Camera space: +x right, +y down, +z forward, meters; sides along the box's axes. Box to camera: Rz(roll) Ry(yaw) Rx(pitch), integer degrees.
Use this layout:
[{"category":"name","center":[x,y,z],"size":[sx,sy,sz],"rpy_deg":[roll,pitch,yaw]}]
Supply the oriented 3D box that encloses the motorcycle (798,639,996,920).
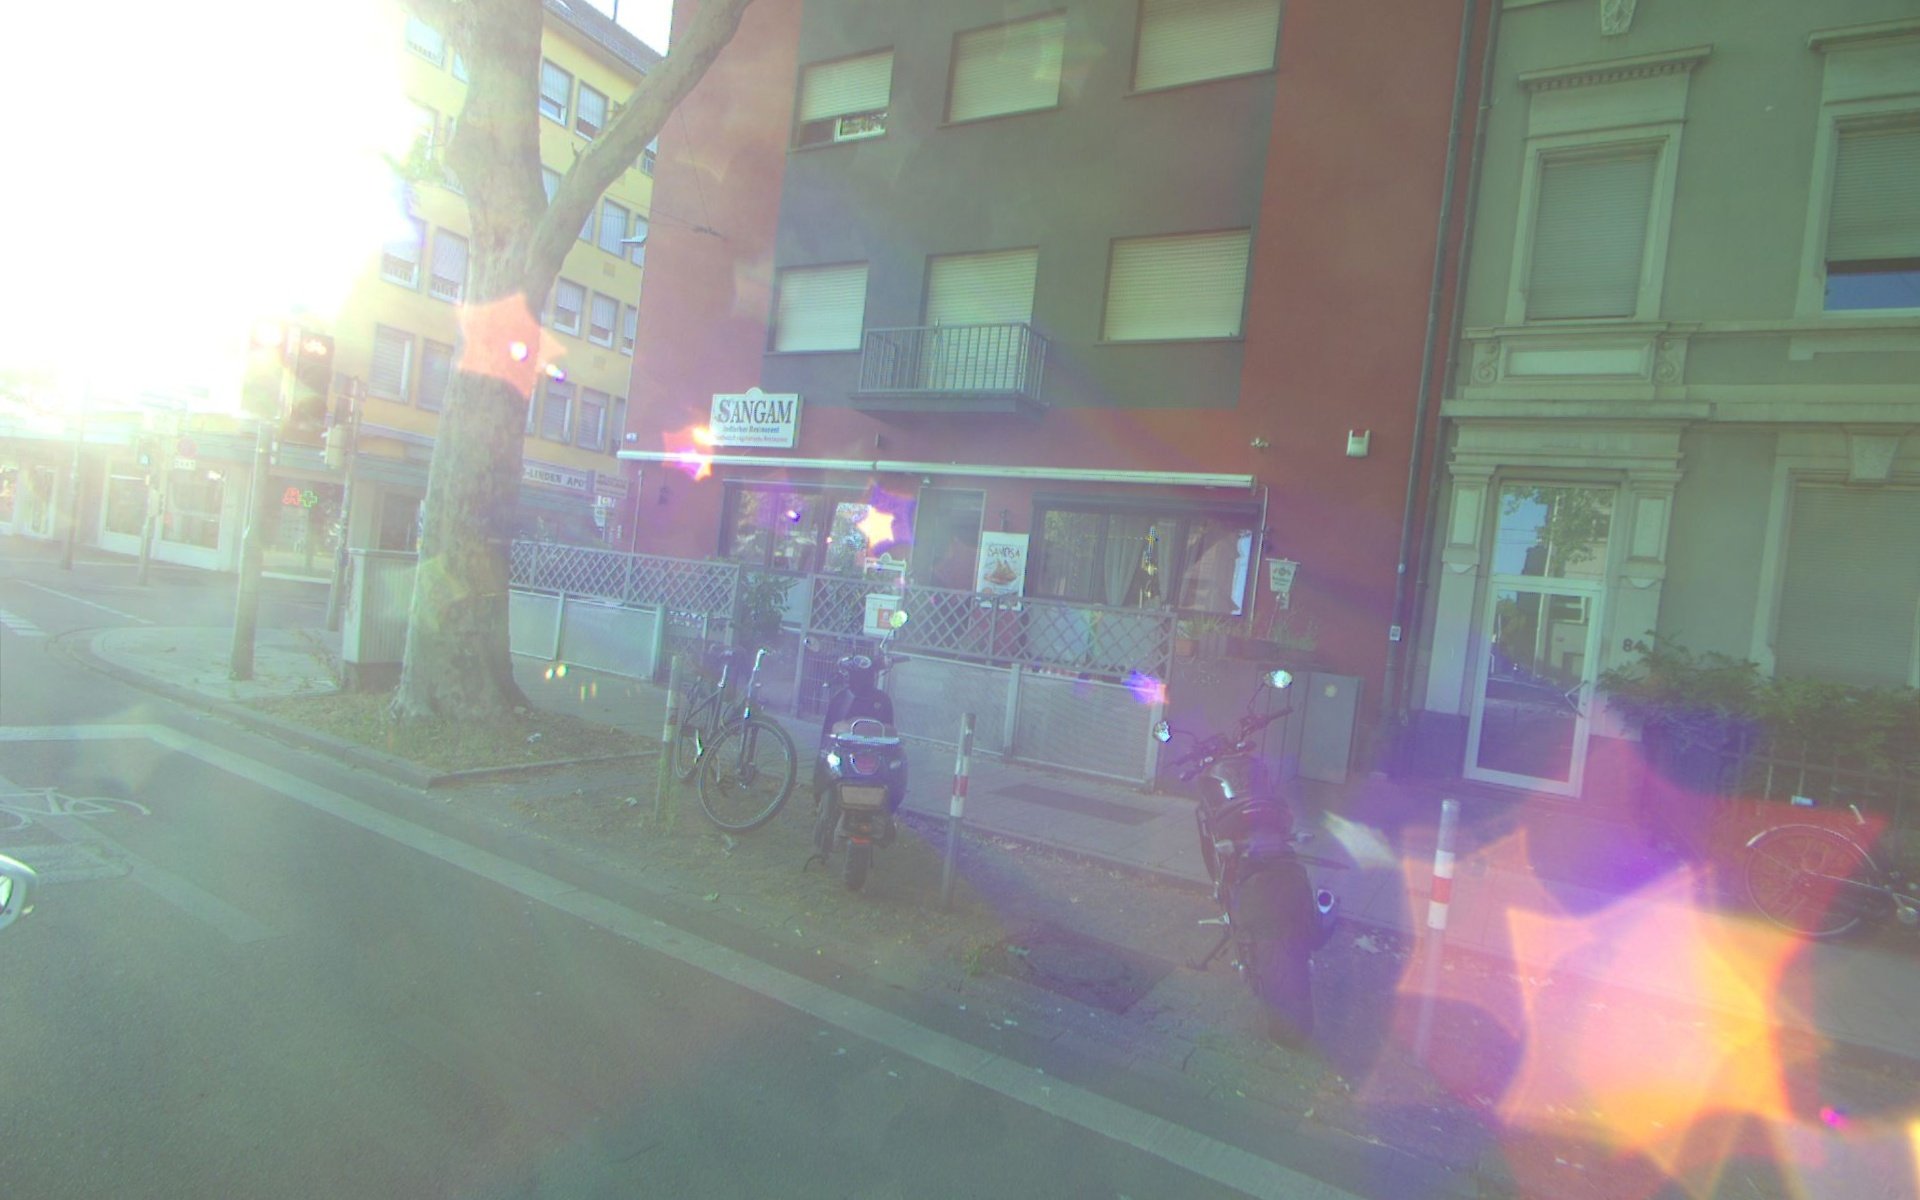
[{"category":"motorcycle","center":[-0.447,0.909,5.736],"size":[0.772,1.126,1.884],"rpy_deg":[6,2,-11]}]

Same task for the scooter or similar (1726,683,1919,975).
[{"category":"scooter or similar","center":[5.880,1.370,5.490],"size":[2.502,1.488,0.665],"rpy_deg":[7,1,32]}]

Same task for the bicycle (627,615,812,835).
[{"category":"bicycle","center":[-1.698,0.779,6.858],"size":[0.614,1.126,1.784],"rpy_deg":[5,3,-31]}]

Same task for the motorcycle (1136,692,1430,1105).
[{"category":"motorcycle","center":[1.316,1.149,4.624],"size":[0.651,1.125,2.212],"rpy_deg":[7,2,4]}]

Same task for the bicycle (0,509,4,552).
[{"category":"bicycle","center":[-23.333,-1.697,23.165],"size":[0.531,1.021,1.800],"rpy_deg":[7,2,28]}]
